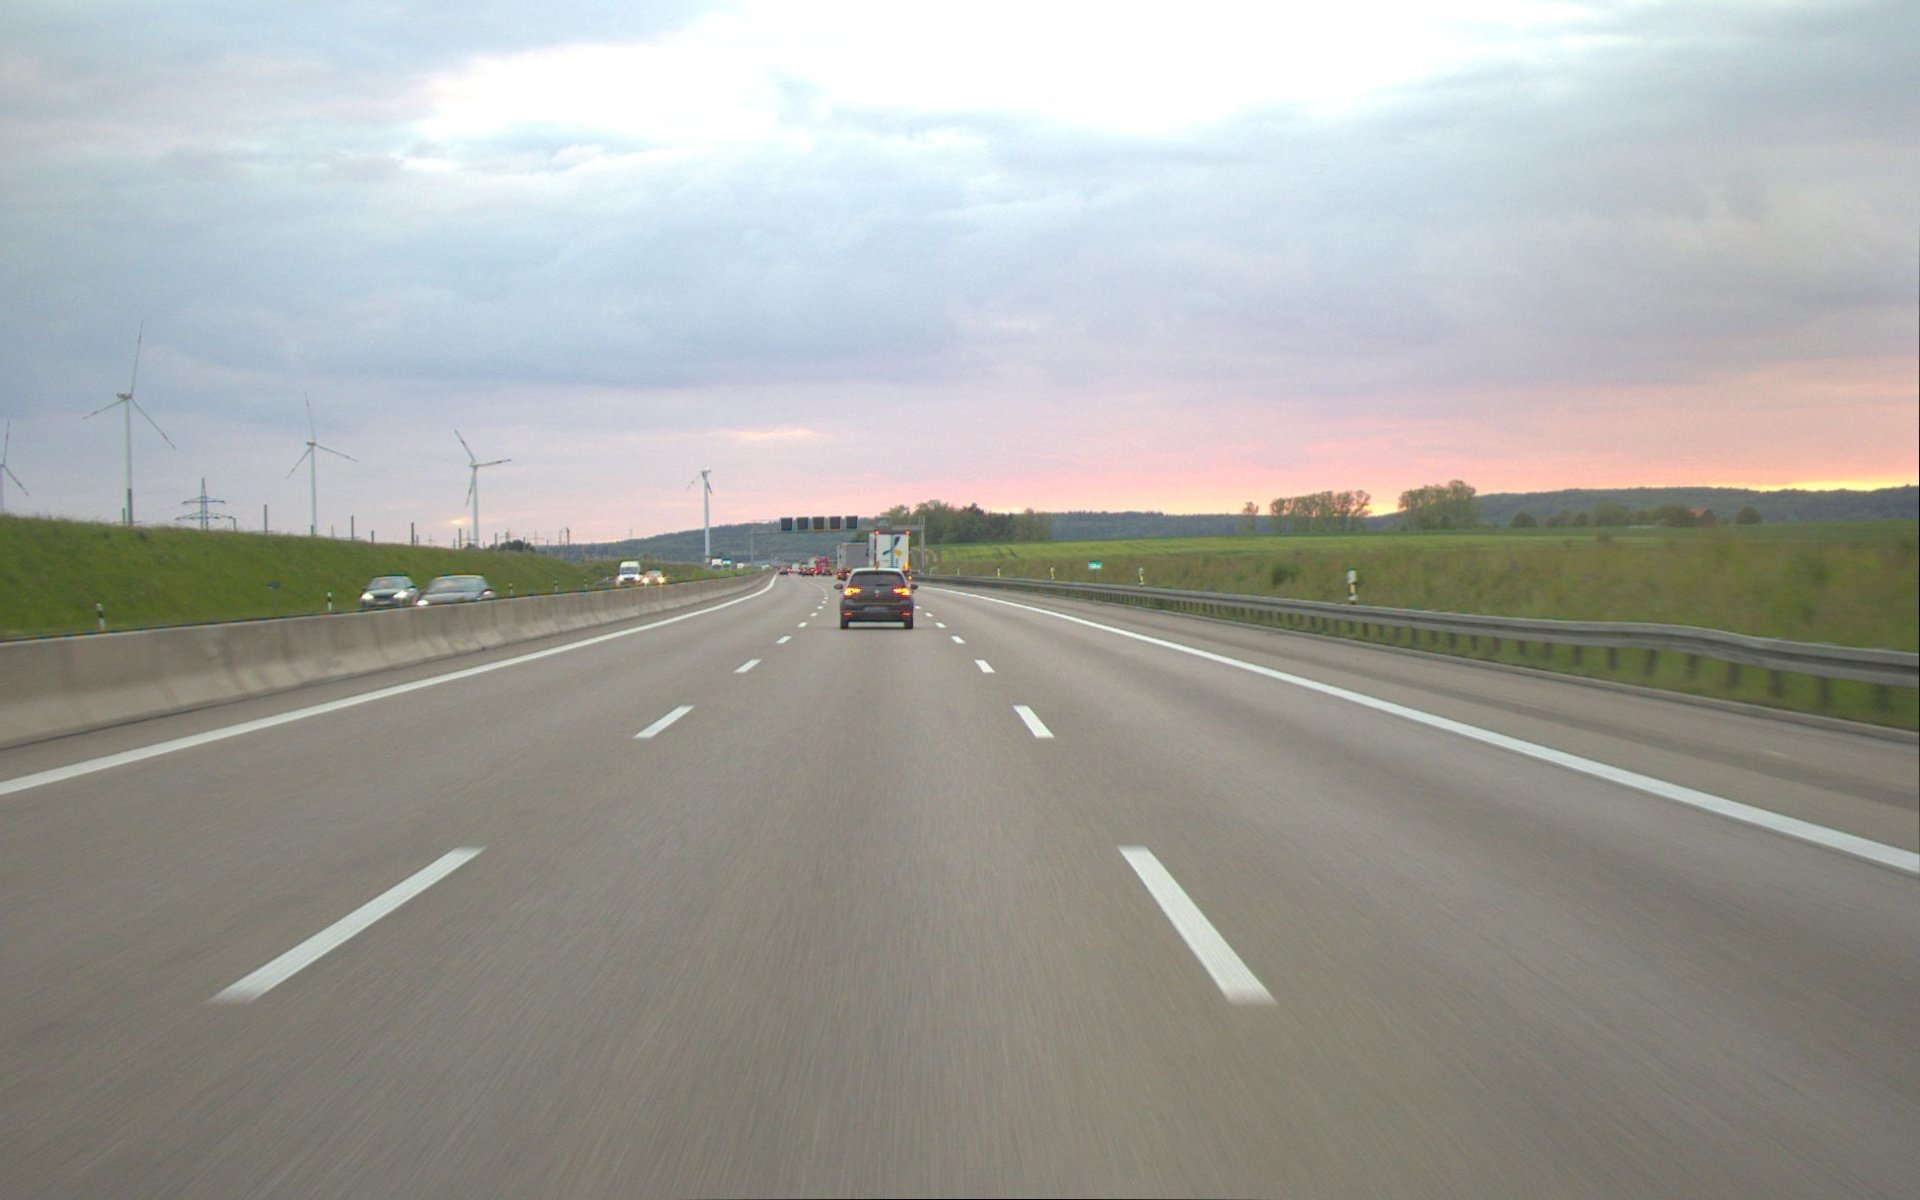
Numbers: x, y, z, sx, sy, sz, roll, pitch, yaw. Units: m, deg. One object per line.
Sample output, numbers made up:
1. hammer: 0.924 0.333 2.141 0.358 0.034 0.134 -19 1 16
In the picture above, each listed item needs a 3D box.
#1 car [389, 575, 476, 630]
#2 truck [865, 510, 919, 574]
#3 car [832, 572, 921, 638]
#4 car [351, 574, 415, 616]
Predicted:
1. car: -14.249 0.047 93.078 1.746 1.381 4.495 -2 1 -1
2. truck: -5.061 -4.274 255.035 3.675 4.549 10.982 -1 1 -2
3. car: -1.951 0.099 81.584 1.987 1.425 4.000 -2 1 0
4. car: -22.756 -0.218 135.678 1.861 1.548 4.582 -2 1 -2
